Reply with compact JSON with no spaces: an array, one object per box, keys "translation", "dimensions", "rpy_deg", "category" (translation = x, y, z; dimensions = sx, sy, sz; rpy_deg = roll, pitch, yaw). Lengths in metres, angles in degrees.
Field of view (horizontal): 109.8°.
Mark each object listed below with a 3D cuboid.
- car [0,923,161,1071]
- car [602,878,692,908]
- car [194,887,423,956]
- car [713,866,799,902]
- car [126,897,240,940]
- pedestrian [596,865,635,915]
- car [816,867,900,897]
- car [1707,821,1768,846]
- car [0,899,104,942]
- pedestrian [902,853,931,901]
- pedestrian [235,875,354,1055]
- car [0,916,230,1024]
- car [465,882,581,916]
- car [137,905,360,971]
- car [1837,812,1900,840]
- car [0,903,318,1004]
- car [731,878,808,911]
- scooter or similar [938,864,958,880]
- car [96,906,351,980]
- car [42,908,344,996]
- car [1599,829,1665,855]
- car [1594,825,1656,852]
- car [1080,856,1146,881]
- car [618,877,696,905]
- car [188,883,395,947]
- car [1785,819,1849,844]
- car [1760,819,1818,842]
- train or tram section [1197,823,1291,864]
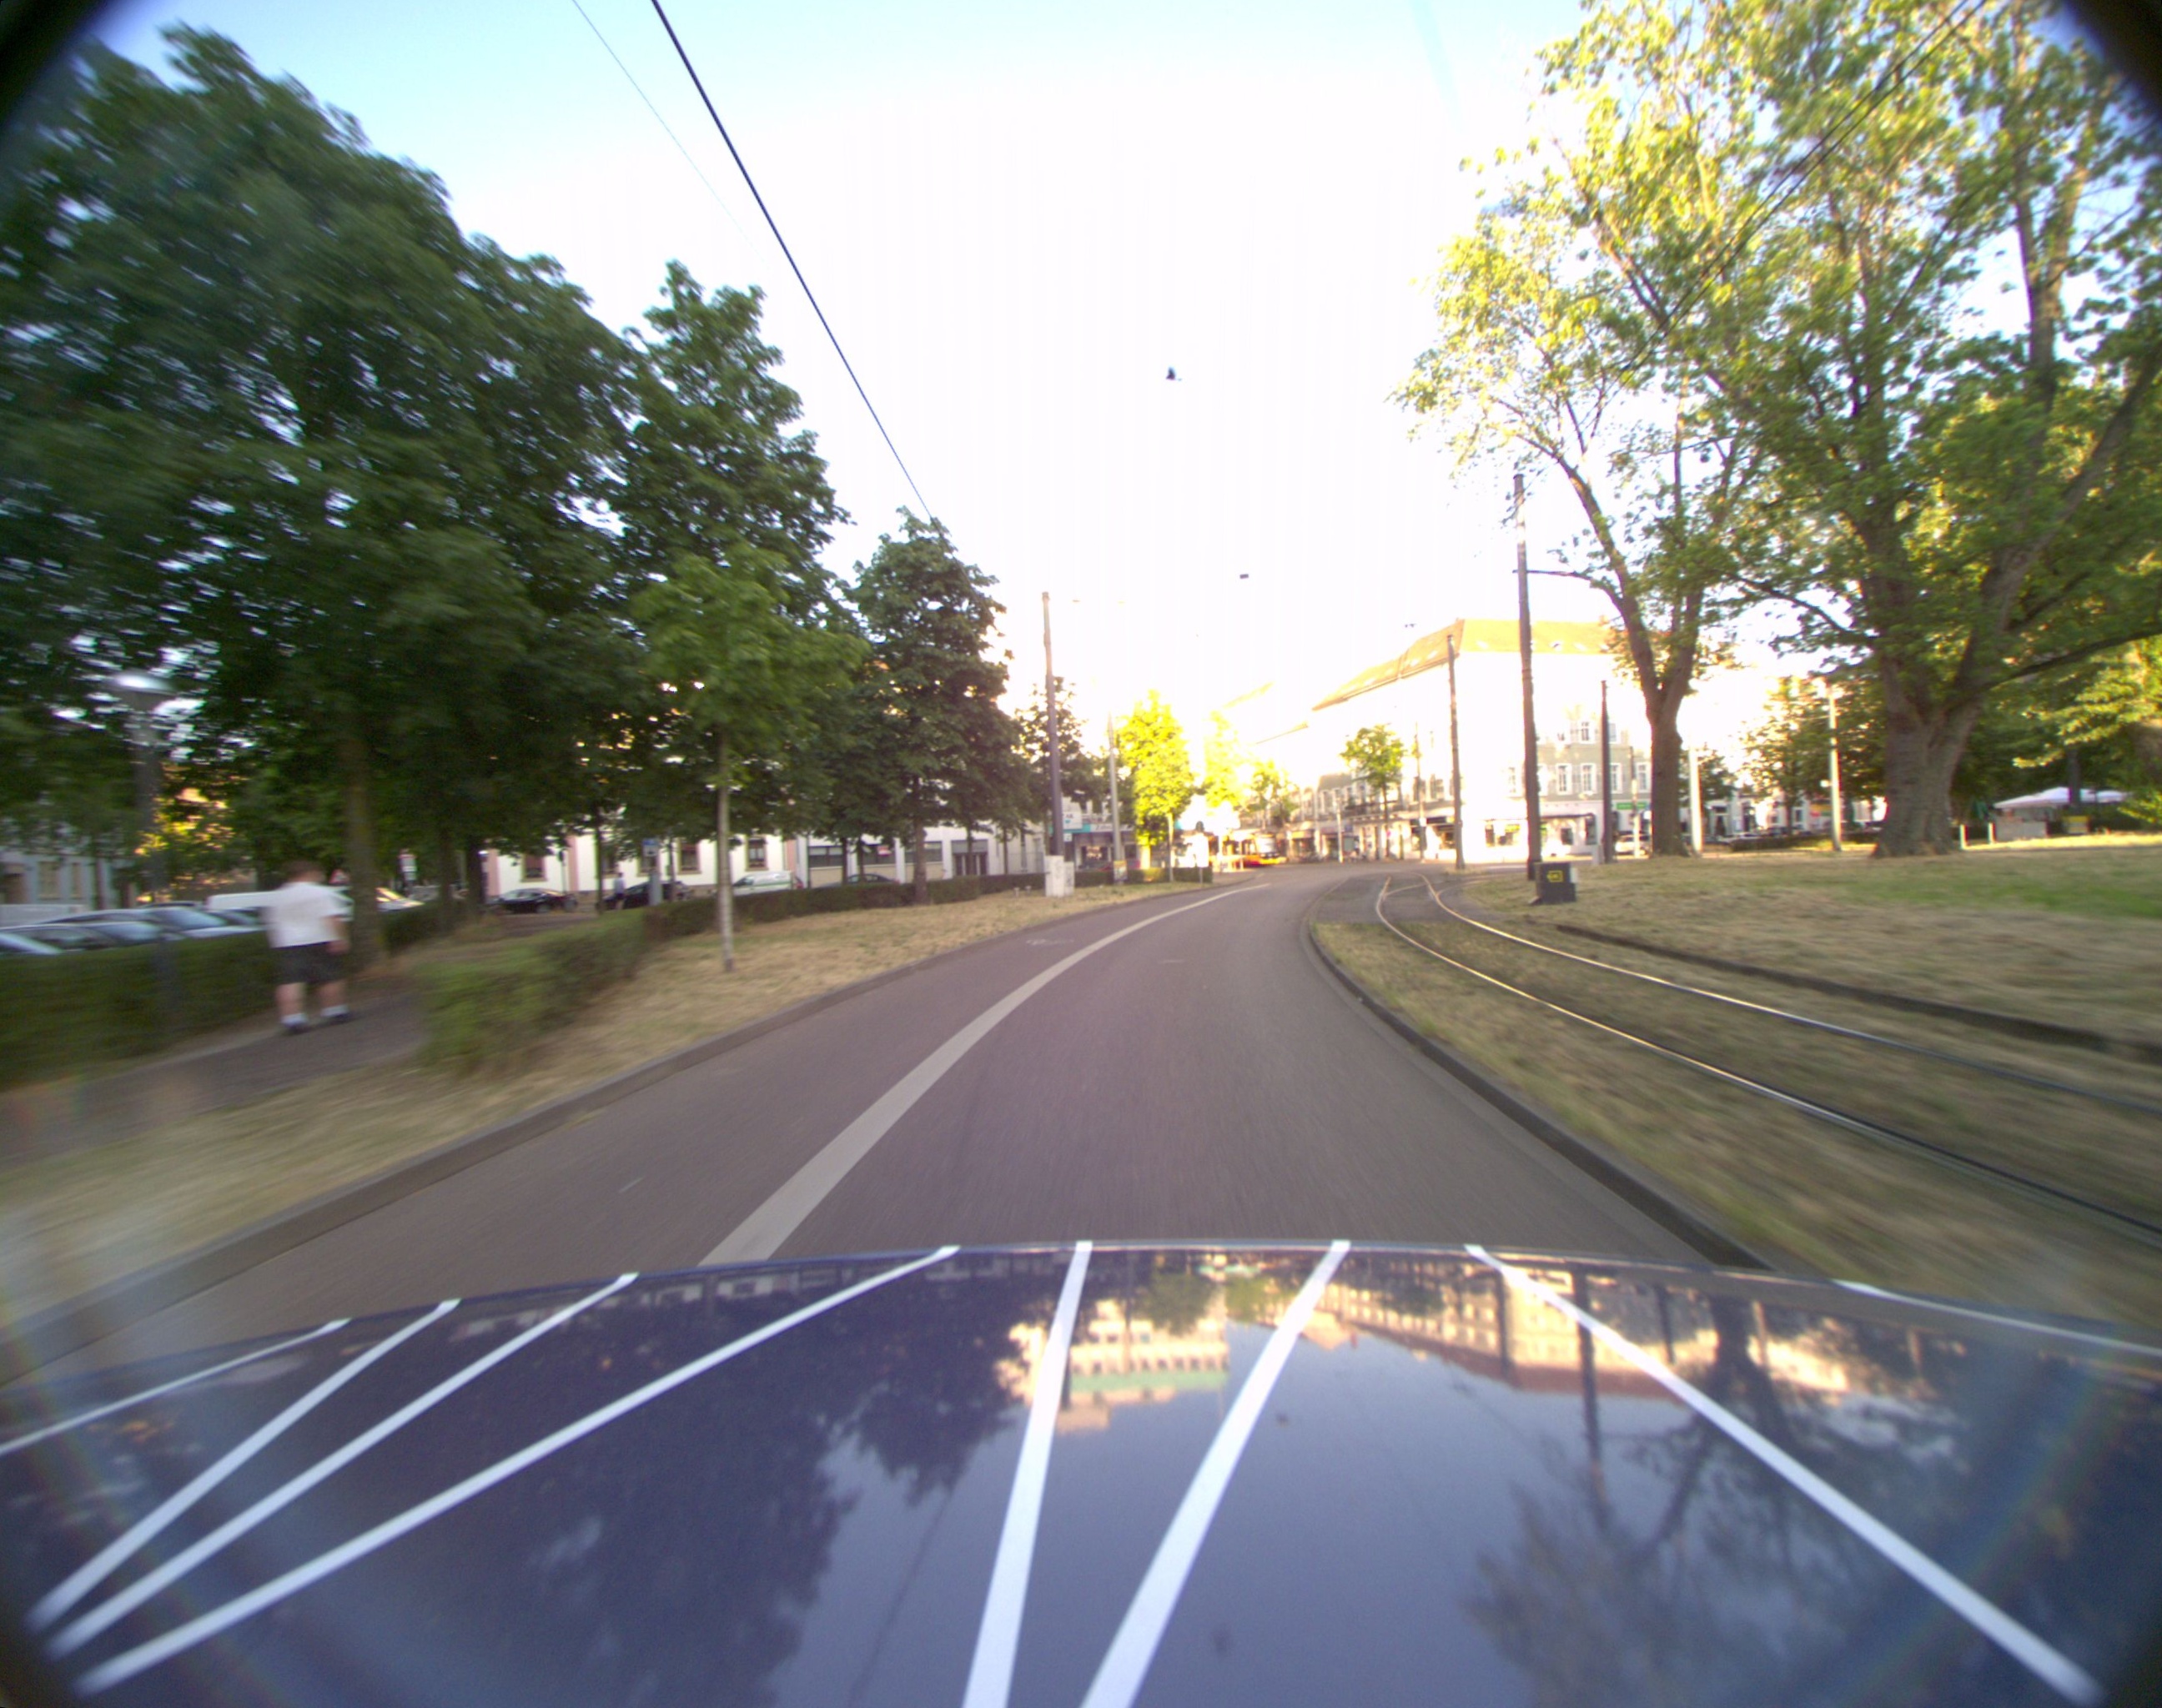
[{"translation":[-14.221,1.772,8.820],"dimensions":[4.072,1.547,1.863],"rpy_deg":[-2,-1,-21],"category":"car"},{"translation":[-22.828,2.015,40.102],"dimensions":[3.785,1.328,1.726],"rpy_deg":[-3,-1,-16],"category":"car"},{"translation":[-26.109,2.234,25.917],"dimensions":[5.084,1.891,2.119],"rpy_deg":[-3,-1,-13],"category":"car"},{"translation":[-17.634,1.597,41.394],"dimensions":[4.015,1.714,1.699],"rpy_deg":[-3,-1,-16],"category":"car"},{"translation":[-54.662,3.893,46.358],"dimensions":[4.075,2.280,1.995],"rpy_deg":[-2,-1,-36],"category":"car"},{"translation":[-19.329,1.494,31.594],"dimensions":[0.828,2.001,1.010],"rpy_deg":[-3,-1,16],"category":"pedestrian"},{"translation":[-12.435,1.535,42.556],"dimensions":[4.325,1.402,1.803],"rpy_deg":[-3,1,-16],"category":"car"},{"translation":[54.882,-1.728,63.573],"dimensions":[4.003,1.892,1.997],"rpy_deg":[-2,-1,-18],"category":"car"},{"translation":[-44.549,2.834,31.639],"dimensions":[4.407,1.603,1.725],"rpy_deg":[-2,-1,-37],"category":"car"},{"translation":[-5.736,0.804,26.485],"dimensions":[0.612,1.615,0.652],"rpy_deg":[-3,-1,33],"category":"pedestrian"},{"translation":[-8.142,1.095,7.871],"dimensions":[0.783,1.705,0.771],"rpy_deg":[-3,-1,41],"category":"pedestrian"},{"translation":[-18.131,2.029,13.116],"dimensions":[4.072,1.542,1.997],"rpy_deg":[-2,-1,-21],"category":"car"},{"translation":[-28.311,2.252,38.714],"dimensions":[4.398,1.410,1.726],"rpy_deg":[-3,-1,-16],"category":"car"},{"translation":[-25.127,2.490,23.151],"dimensions":[4.072,1.542,1.997],"rpy_deg":[-2,-1,-21],"category":"car"},{"translation":[63.151,-2.245,60.922],"dimensions":[4.003,1.987,1.857],"rpy_deg":[-2,-1,-18],"category":"car"},{"translation":[-18.844,1.947,15.533],"dimensions":[4.072,1.608,1.997],"rpy_deg":[-2,-1,-21],"category":"car"},{"translation":[-18.666,2.396,45.735],"dimensions":[4.015,1.714,1.700],"rpy_deg":[-3,-1,-14],"category":"car"},{"translation":[-9.088,1.249,51.993],"dimensions":[1.181,1.026,0.489],"rpy_deg":[-3,-1,6],"category":"scooter or similar"},{"translation":[-22.949,2.334,20.577],"dimensions":[4.072,1.542,1.997],"rpy_deg":[-2,-1,-21],"category":"car"},{"translation":[-20.421,2.184,17.751],"dimensions":[4.072,1.542,1.997],"rpy_deg":[-2,-1,-21],"category":"car"},{"translation":[40.680,-0.910,56.094],"dimensions":[4.003,1.695,1.857],"rpy_deg":[-2,-1,-18],"category":"car"},{"translation":[44.230,-1.259,61.786],"dimensions":[4.003,1.892,1.997],"rpy_deg":[-2,-1,-18],"category":"car"},{"translation":[2.163,0.974,51.394],"dimensions":[4.002,1.441,1.846],"rpy_deg":[-3,-1,-16],"category":"car"},{"translation":[-25.078,2.156,45.025],"dimensions":[3.678,1.440,1.700],"rpy_deg":[-3,-1,-14],"category":"car"},{"translation":[-29.368,2.230,28.468],"dimensions":[5.084,2.010,1.966],"rpy_deg":[-3,-1,-13],"category":"car"},{"translation":[57.402,-1.726,59.267],"dimensions":[4.003,1.695,1.857],"rpy_deg":[-2,-1,-18],"category":"car"},{"translation":[61.474,-2.046,65.993],"dimensions":[4.003,1.695,1.857],"rpy_deg":[-2,-1,-18],"category":"car"},{"translation":[15.703,-0.886,75.069],"dimensions":[2.952,3.563,13.348],"rpy_deg":[-3,1,-16],"category":"train or tram section"}]
